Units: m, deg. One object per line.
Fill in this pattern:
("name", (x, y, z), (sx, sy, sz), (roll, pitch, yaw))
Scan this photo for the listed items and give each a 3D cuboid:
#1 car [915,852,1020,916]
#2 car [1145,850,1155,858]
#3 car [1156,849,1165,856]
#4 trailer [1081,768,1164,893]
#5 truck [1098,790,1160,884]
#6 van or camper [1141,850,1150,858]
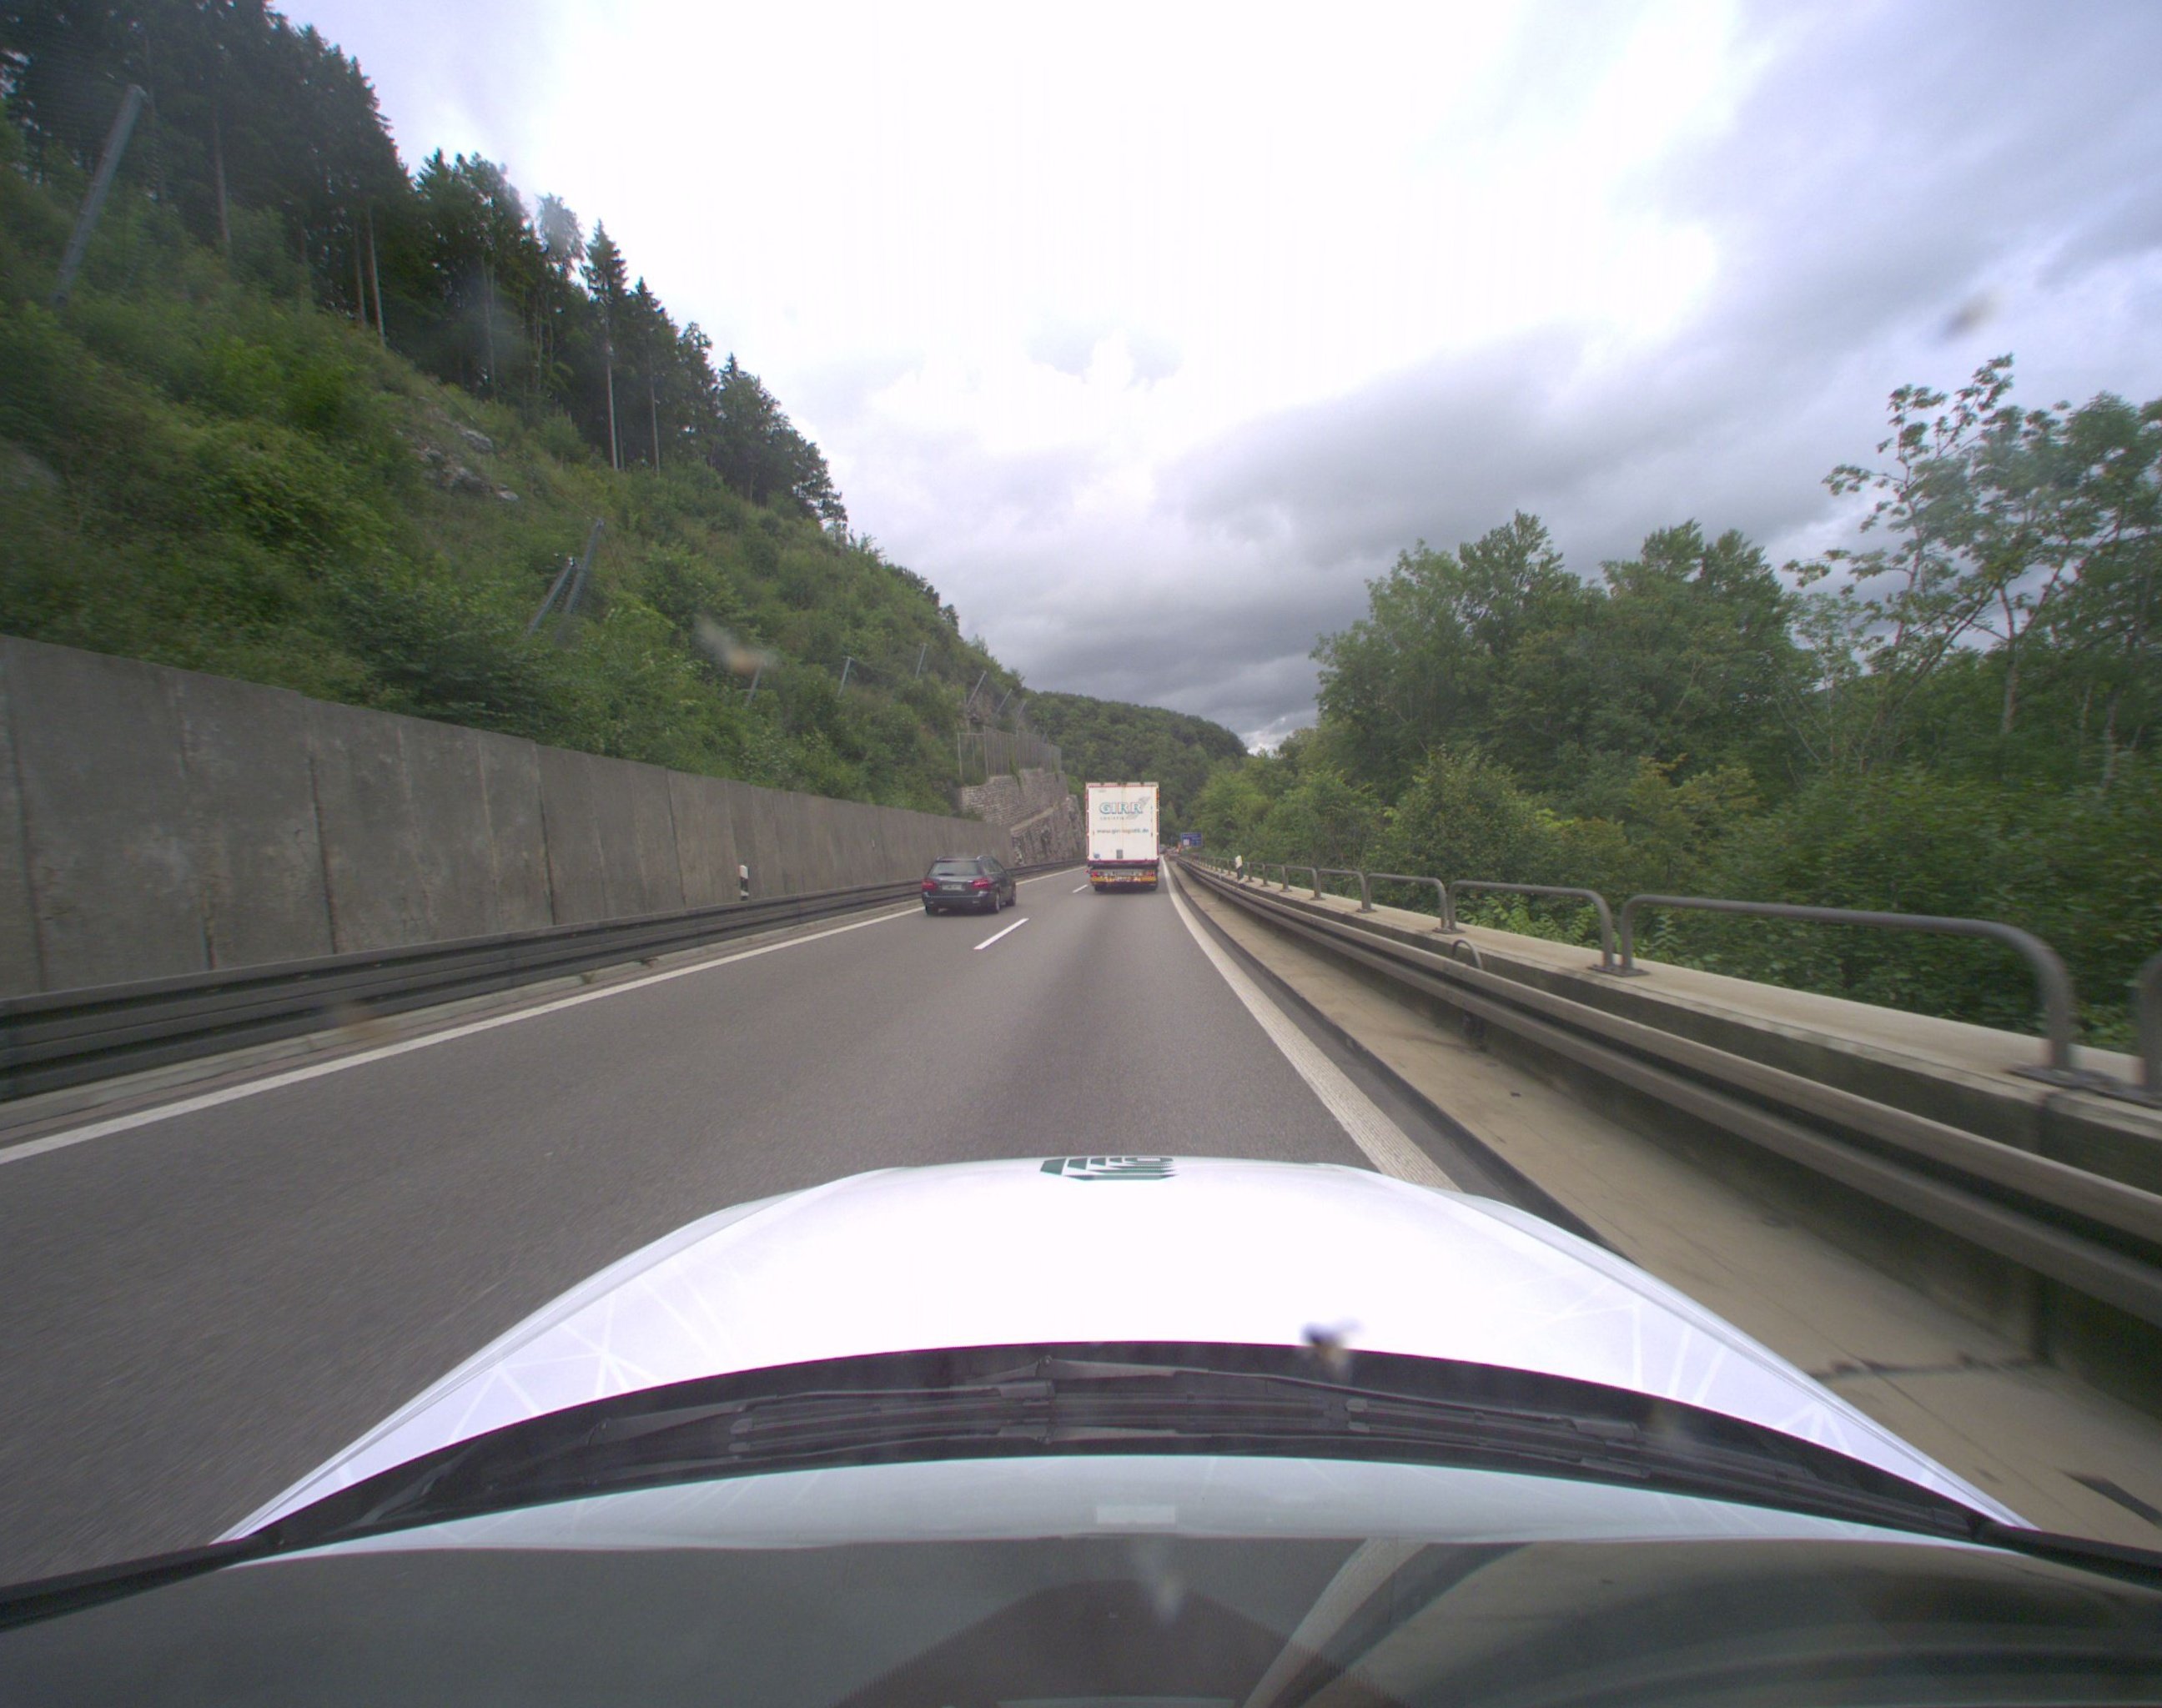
("car", (-2.881, 0.731, 21.732), (1.875, 1.510, 4.423), (-1, 0, 4))
("car", (14.549, -0.032, 171.129), (1.985, 1.572, 4.004), (-1, 0, 4))
("car", (21.039, -0.308, 215.168), (1.982, 1.764, 4.010), (-1, 0, 9))
("trailer", (1.955, -0.788, 34.294), (2.800, 4.302, 12.261), (-1, 0, 5))
("truck", (2.489, -0.782, 40.742), (2.800, 4.302, 6.267), (-1, 0, 5))
("van or camper", (15.554, 0.040, 197.084), (1.983, 2.014, 4.007), (0, -1, 6))
